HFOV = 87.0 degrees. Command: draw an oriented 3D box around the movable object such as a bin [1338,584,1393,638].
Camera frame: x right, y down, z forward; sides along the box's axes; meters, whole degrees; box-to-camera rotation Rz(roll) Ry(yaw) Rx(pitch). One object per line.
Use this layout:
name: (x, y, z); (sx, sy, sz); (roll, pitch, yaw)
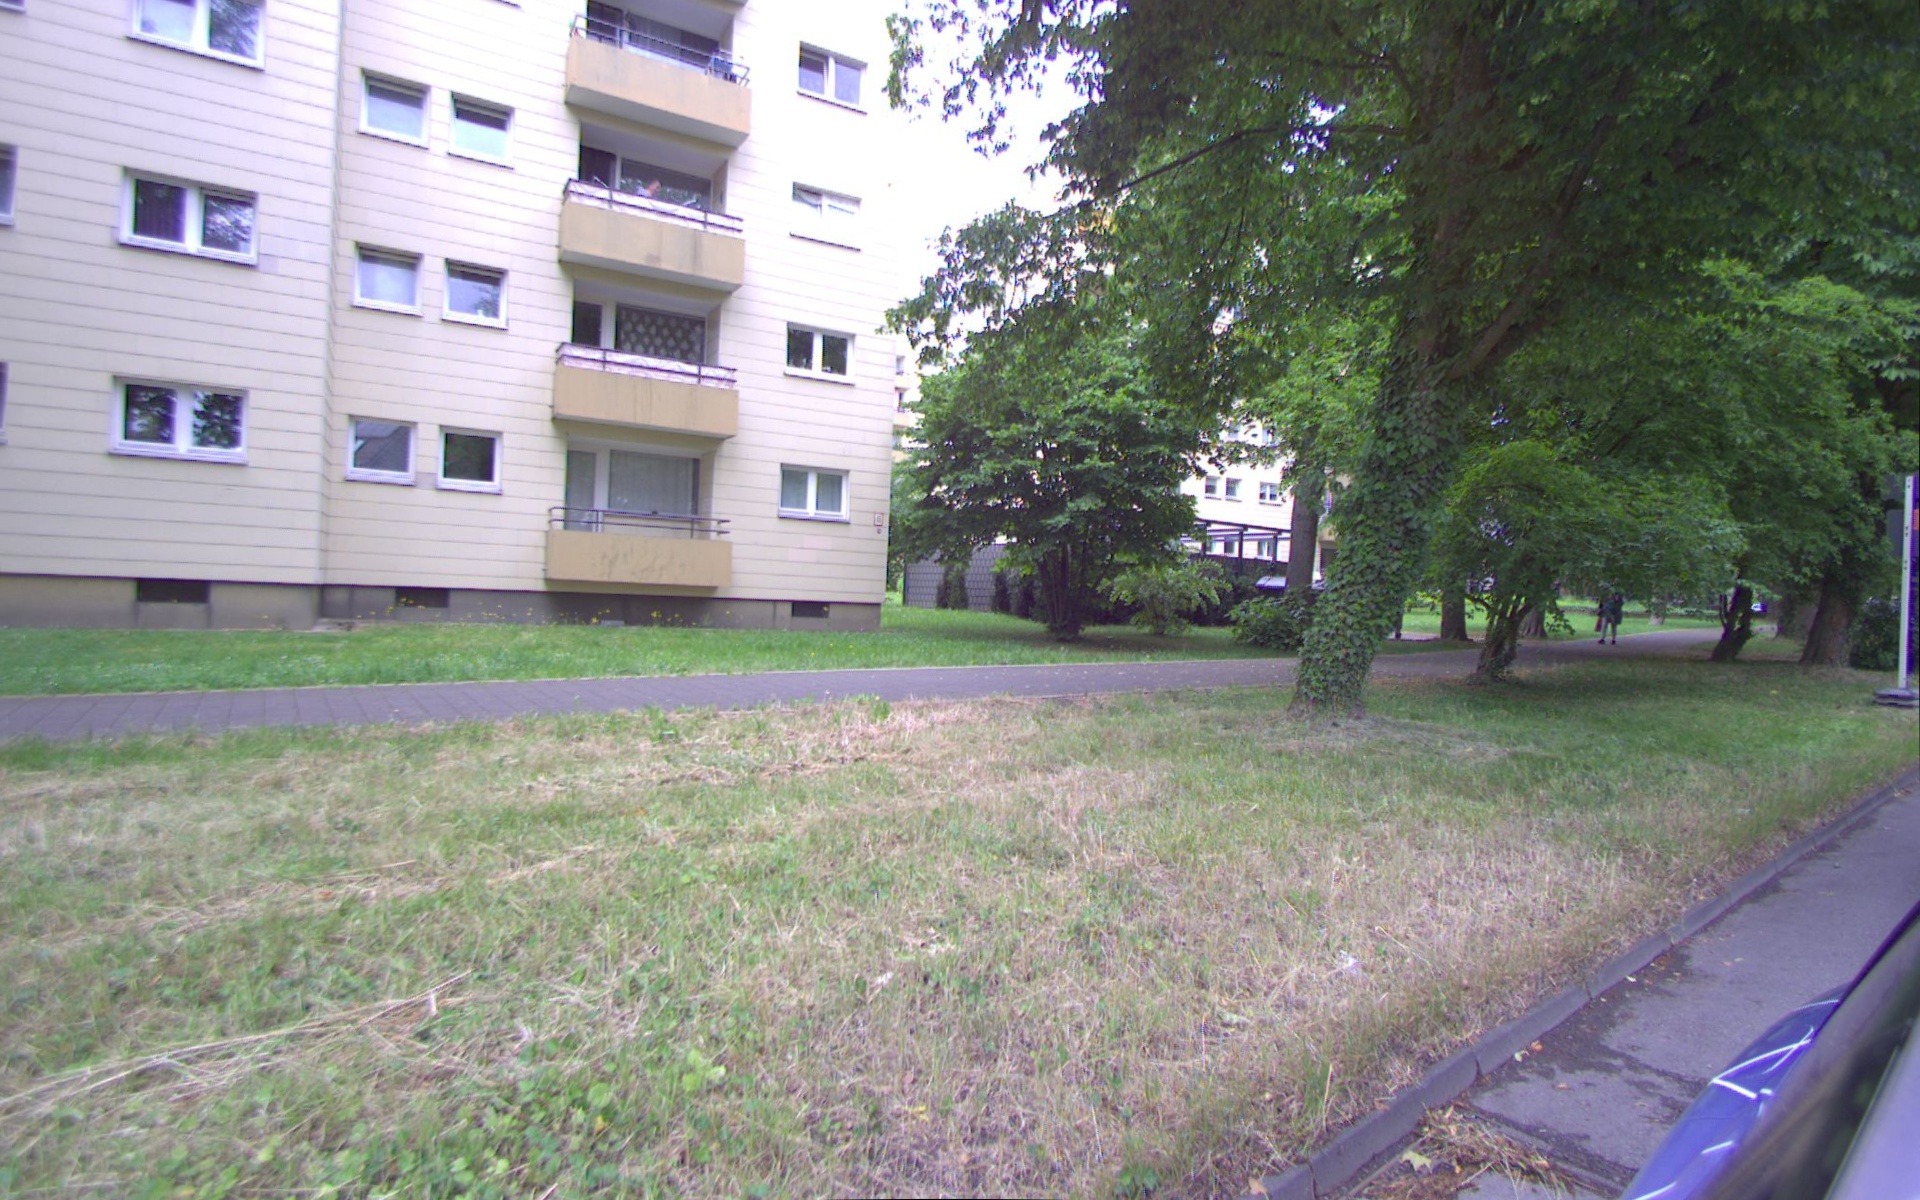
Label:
movable object such as a bin: (10.558, 0.269, 26.347); (1.022, 1.320, 0.946); (3, 2, 41)

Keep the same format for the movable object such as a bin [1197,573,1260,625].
movable object such as a bin: (7.418, -0.027, 27.917); (1.190, 1.358, 1.328); (3, 2, 41)

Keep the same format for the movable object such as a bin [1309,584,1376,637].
movable object such as a bin: (9.670, 0.248, 25.573); (1.190, 1.236, 1.328); (3, 2, 41)

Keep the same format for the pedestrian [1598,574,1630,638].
pedestrian: (18.406, 0.172, 28.486); (0.560, 1.761, 0.565); (1, 2, -41)

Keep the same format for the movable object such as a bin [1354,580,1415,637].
movable object such as a bin: (11.359, 0.210, 27.065); (1.190, 1.431, 1.094); (3, 2, 41)

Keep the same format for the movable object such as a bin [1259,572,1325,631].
movable object such as a bin: (8.680, 0.032, 26.445); (1.190, 1.475, 1.328); (3, 2, 41)
